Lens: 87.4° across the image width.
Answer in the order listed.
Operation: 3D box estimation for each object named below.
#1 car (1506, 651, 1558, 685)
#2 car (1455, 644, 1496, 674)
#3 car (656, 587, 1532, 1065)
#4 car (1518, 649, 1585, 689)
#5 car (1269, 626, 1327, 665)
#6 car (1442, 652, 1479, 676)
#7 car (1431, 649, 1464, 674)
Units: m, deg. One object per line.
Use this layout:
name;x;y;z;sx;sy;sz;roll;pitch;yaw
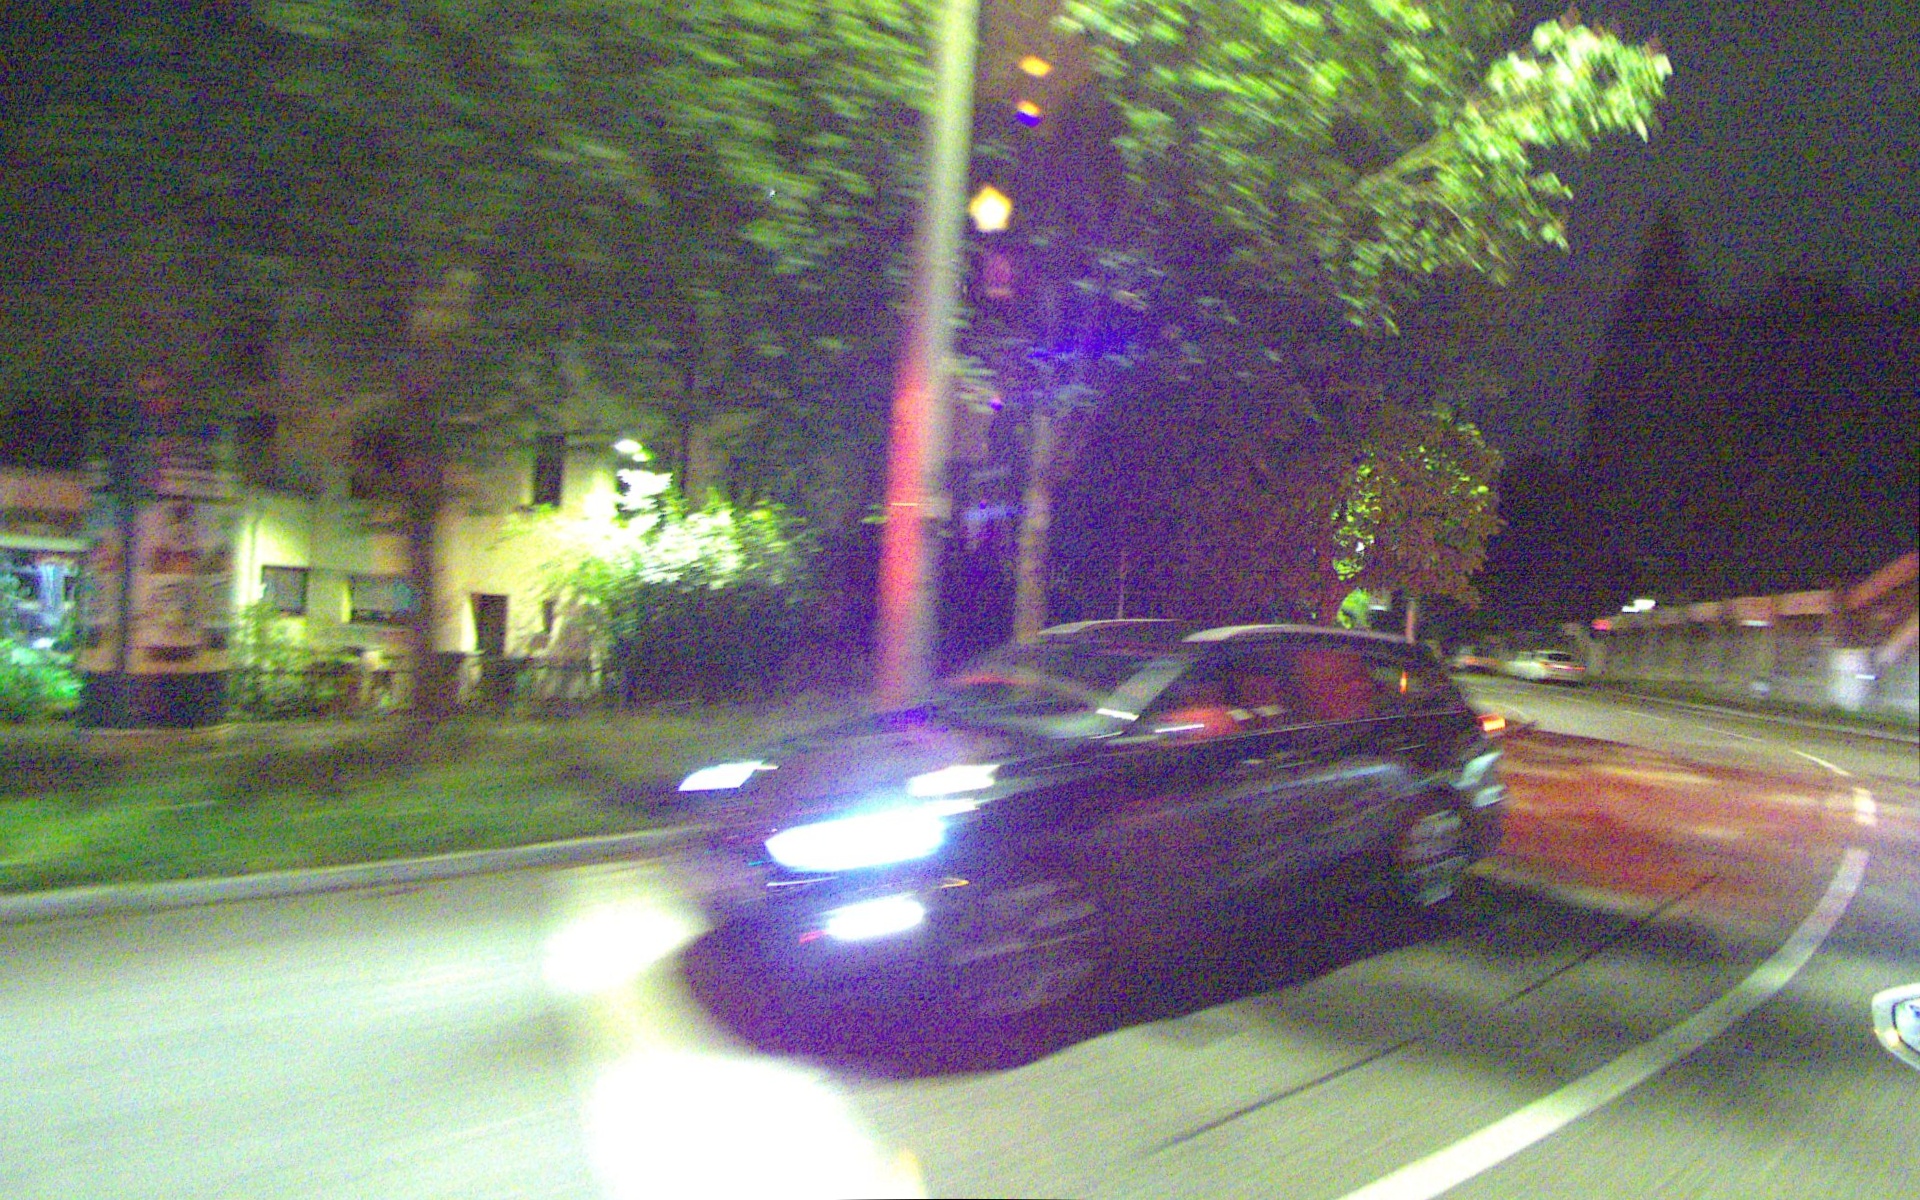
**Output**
car;29.389;3.455;51.713;1.582;1.481;3.717;2;-1;19
car;34.868;4.005;68.095;1.690;1.784;4.759;6;-1;19
car;0.884;0.780;5.001;4.247;1.448;1.715;3;-1;-35
car;27.865;3.206;47.475;1.726;1.614;4.729;6;-1;20
car;14.795;1.964;44.111;1.941;1.458;4.003;5;0;14
car;36.489;4.626;73.325;1.715;1.489;4.259;7;-1;18
car;38.171;4.867;78.692;1.802;1.685;4.620;5;-2;21
